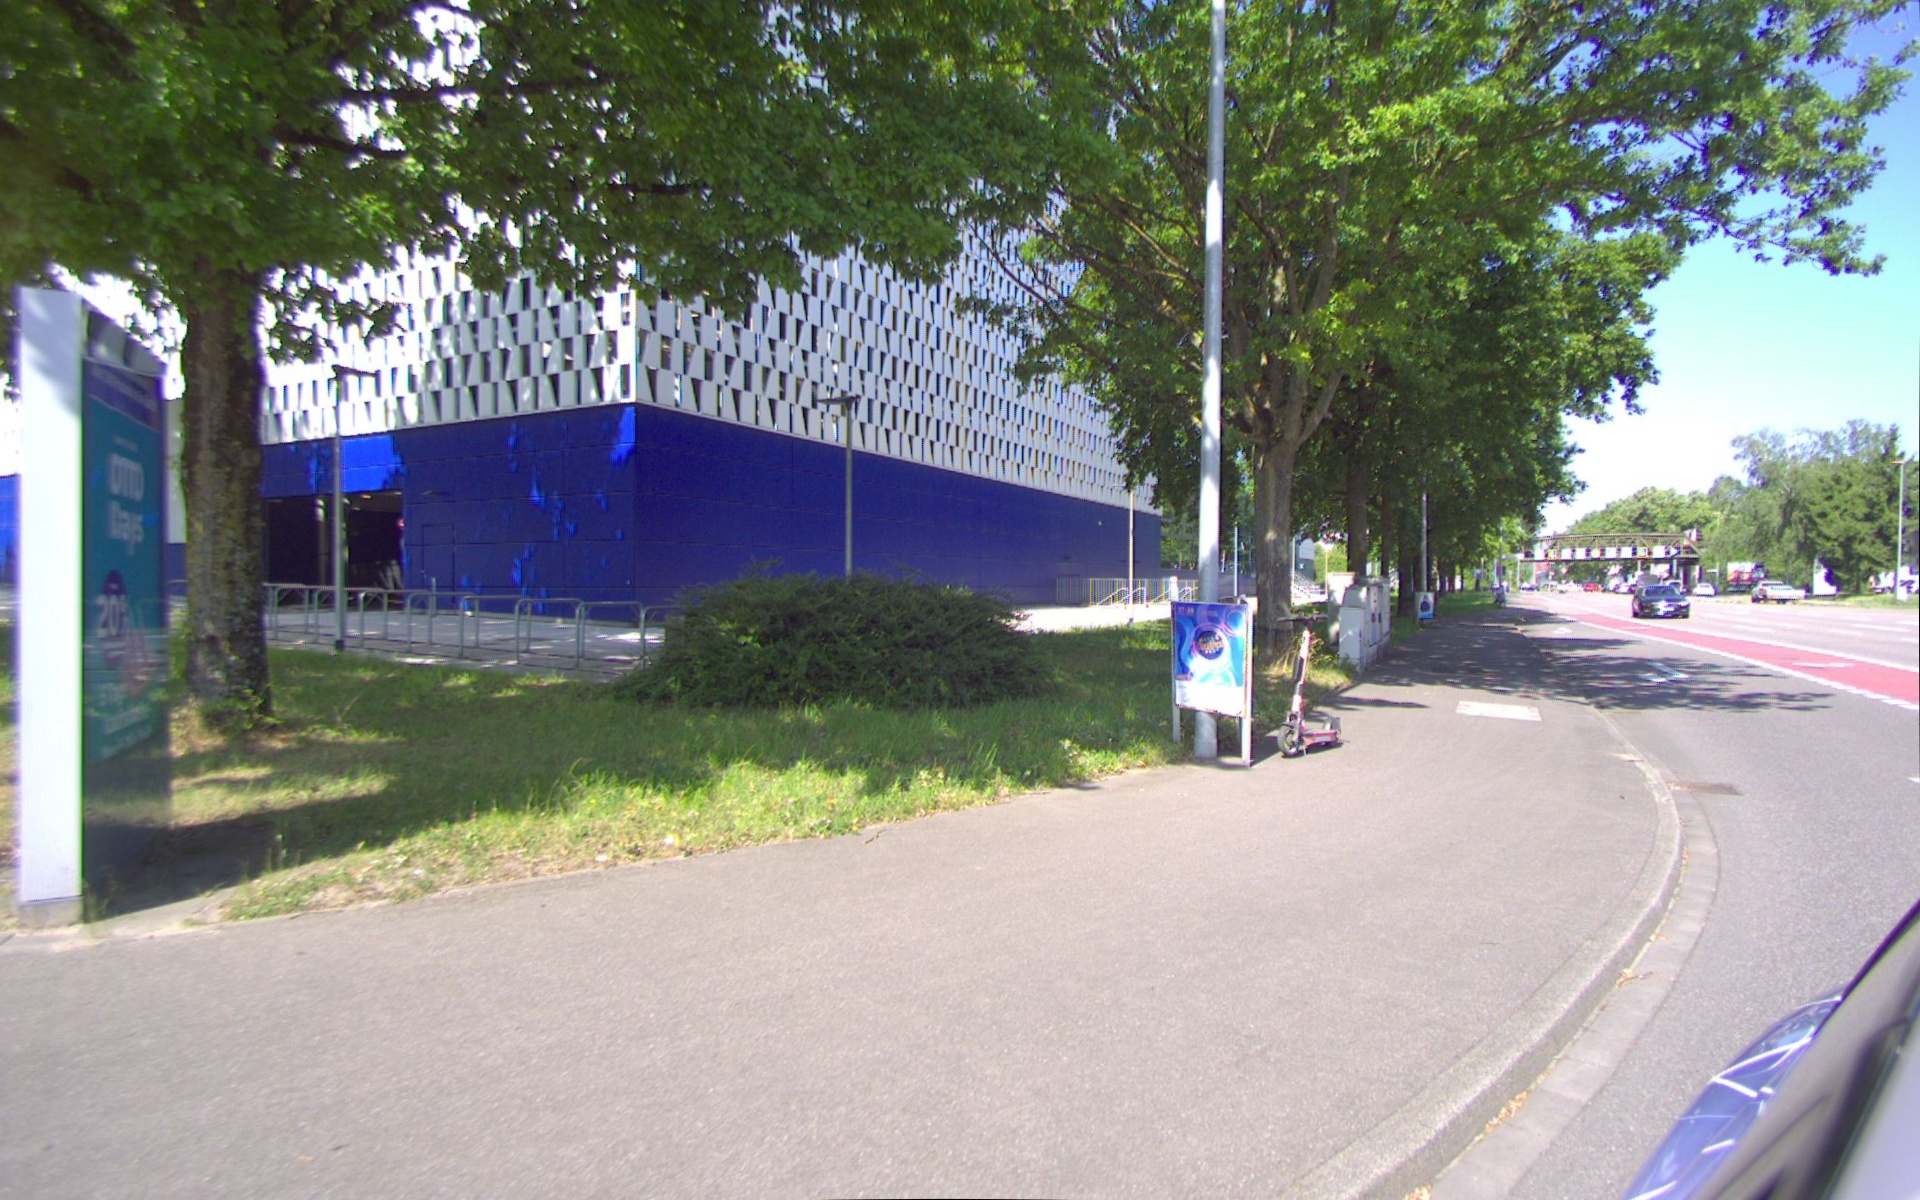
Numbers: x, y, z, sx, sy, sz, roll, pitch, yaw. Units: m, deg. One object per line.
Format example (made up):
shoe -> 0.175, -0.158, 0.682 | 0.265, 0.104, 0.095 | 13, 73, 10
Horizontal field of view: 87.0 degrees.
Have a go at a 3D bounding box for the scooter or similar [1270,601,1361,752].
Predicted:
scooter or similar -> 3.107, 0.623, 8.792 | 0.254, 1.196, 1.370 | 1, 1, 41

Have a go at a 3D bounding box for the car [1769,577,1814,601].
car -> 62.267, -0.818, 75.854 | 2.154, 1.696, 4.460 | 0, 0, 33

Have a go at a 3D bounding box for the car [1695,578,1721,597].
car -> 84.833, -1.397, 114.799 | 1.984, 2.039, 3.955 | 0, 0, 32

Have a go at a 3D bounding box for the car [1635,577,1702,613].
car -> 31.507, -0.252, 45.133 | 1.754, 1.483, 4.201 | -2, 0, 26
